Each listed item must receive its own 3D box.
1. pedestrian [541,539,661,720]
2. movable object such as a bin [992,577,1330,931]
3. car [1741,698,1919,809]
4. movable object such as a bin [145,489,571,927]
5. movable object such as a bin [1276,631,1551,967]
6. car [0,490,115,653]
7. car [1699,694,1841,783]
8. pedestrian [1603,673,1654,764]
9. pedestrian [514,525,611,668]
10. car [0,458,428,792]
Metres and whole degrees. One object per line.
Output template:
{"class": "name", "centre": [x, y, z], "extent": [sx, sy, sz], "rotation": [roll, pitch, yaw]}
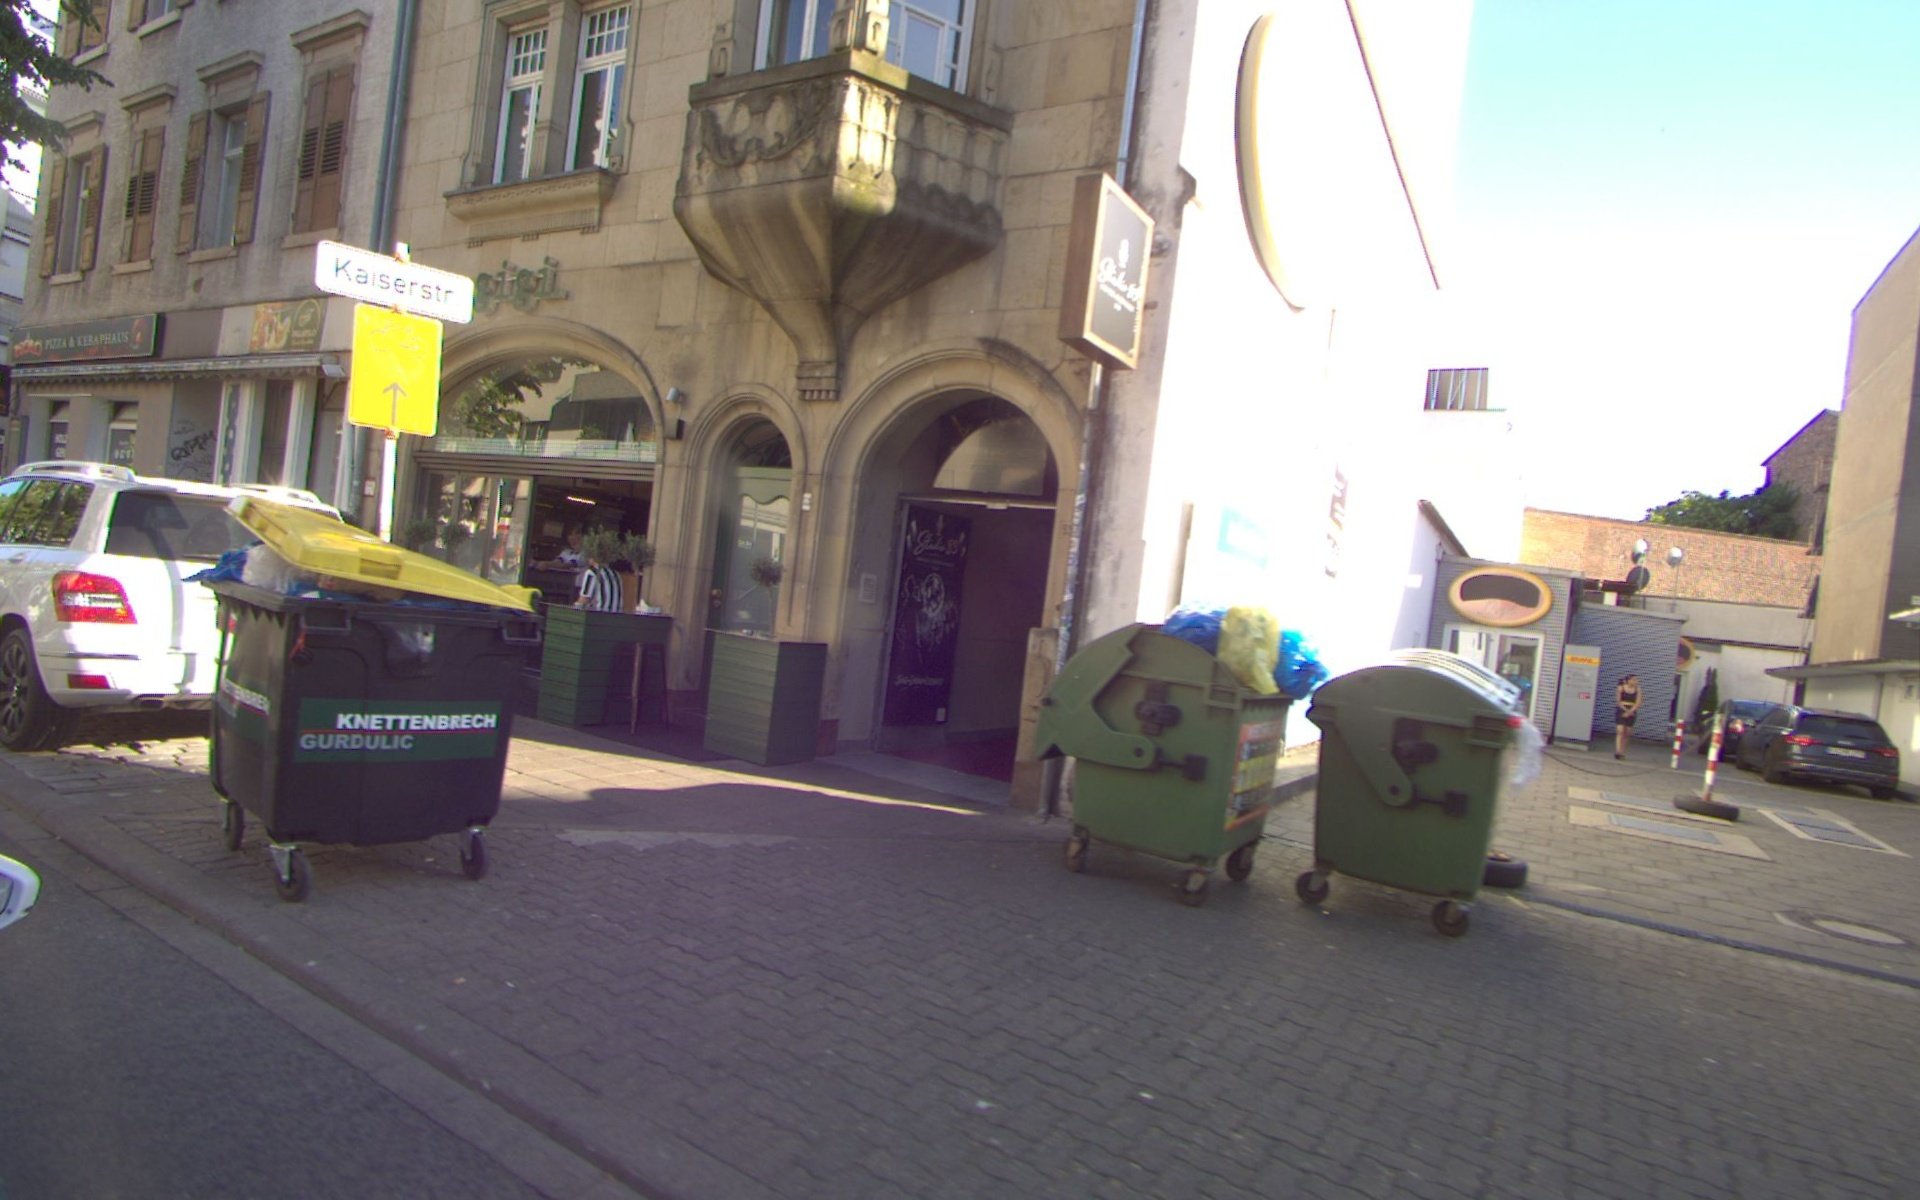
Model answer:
{"class": "pedestrian", "centre": [-3.325, 0.274, 9.334], "extent": [0.687, 1.560, 0.611], "rotation": [7, 2, 31]}
{"class": "movable object such as a bin", "centre": [1.209, 0.805, 5.930], "extent": [1.473, 1.648, 1.207], "rotation": [7, 1, 30]}
{"class": "car", "centre": [16.099, 2.746, 18.745], "extent": [1.968, 1.482, 3.989], "rotation": [7, 0, 33]}
{"class": "movable object such as a bin", "centre": [-2.745, 0.391, 4.572], "extent": [1.438, 1.582, 1.141], "rotation": [7, 1, 40]}
{"class": "movable object such as a bin", "centre": [2.656, 1.041, 5.847], "extent": [1.157, 1.550, 1.272], "rotation": [7, 1, 30]}
{"class": "car", "centre": [-10.404, -0.454, 9.959], "extent": [4.229, 1.409, 1.823], "rotation": [7, 2, 31]}
{"class": "car", "centre": [18.218, 3.045, 22.817], "extent": [1.968, 1.482, 3.989], "rotation": [7, 0, 33]}
{"class": "pedestrian", "centre": [12.935, 2.286, 19.485], "extent": [0.536, 1.657, 0.547], "rotation": [7, 1, 21]}
{"class": "pedestrian", "centre": [-4.661, -0.032, 11.819], "extent": [0.602, 1.586, 0.697], "rotation": [7, 2, 31]}
{"class": "car", "centre": [-5.992, -0.050, 7.170], "extent": [4.525, 1.701, 1.822], "rotation": [7, 2, 32]}
